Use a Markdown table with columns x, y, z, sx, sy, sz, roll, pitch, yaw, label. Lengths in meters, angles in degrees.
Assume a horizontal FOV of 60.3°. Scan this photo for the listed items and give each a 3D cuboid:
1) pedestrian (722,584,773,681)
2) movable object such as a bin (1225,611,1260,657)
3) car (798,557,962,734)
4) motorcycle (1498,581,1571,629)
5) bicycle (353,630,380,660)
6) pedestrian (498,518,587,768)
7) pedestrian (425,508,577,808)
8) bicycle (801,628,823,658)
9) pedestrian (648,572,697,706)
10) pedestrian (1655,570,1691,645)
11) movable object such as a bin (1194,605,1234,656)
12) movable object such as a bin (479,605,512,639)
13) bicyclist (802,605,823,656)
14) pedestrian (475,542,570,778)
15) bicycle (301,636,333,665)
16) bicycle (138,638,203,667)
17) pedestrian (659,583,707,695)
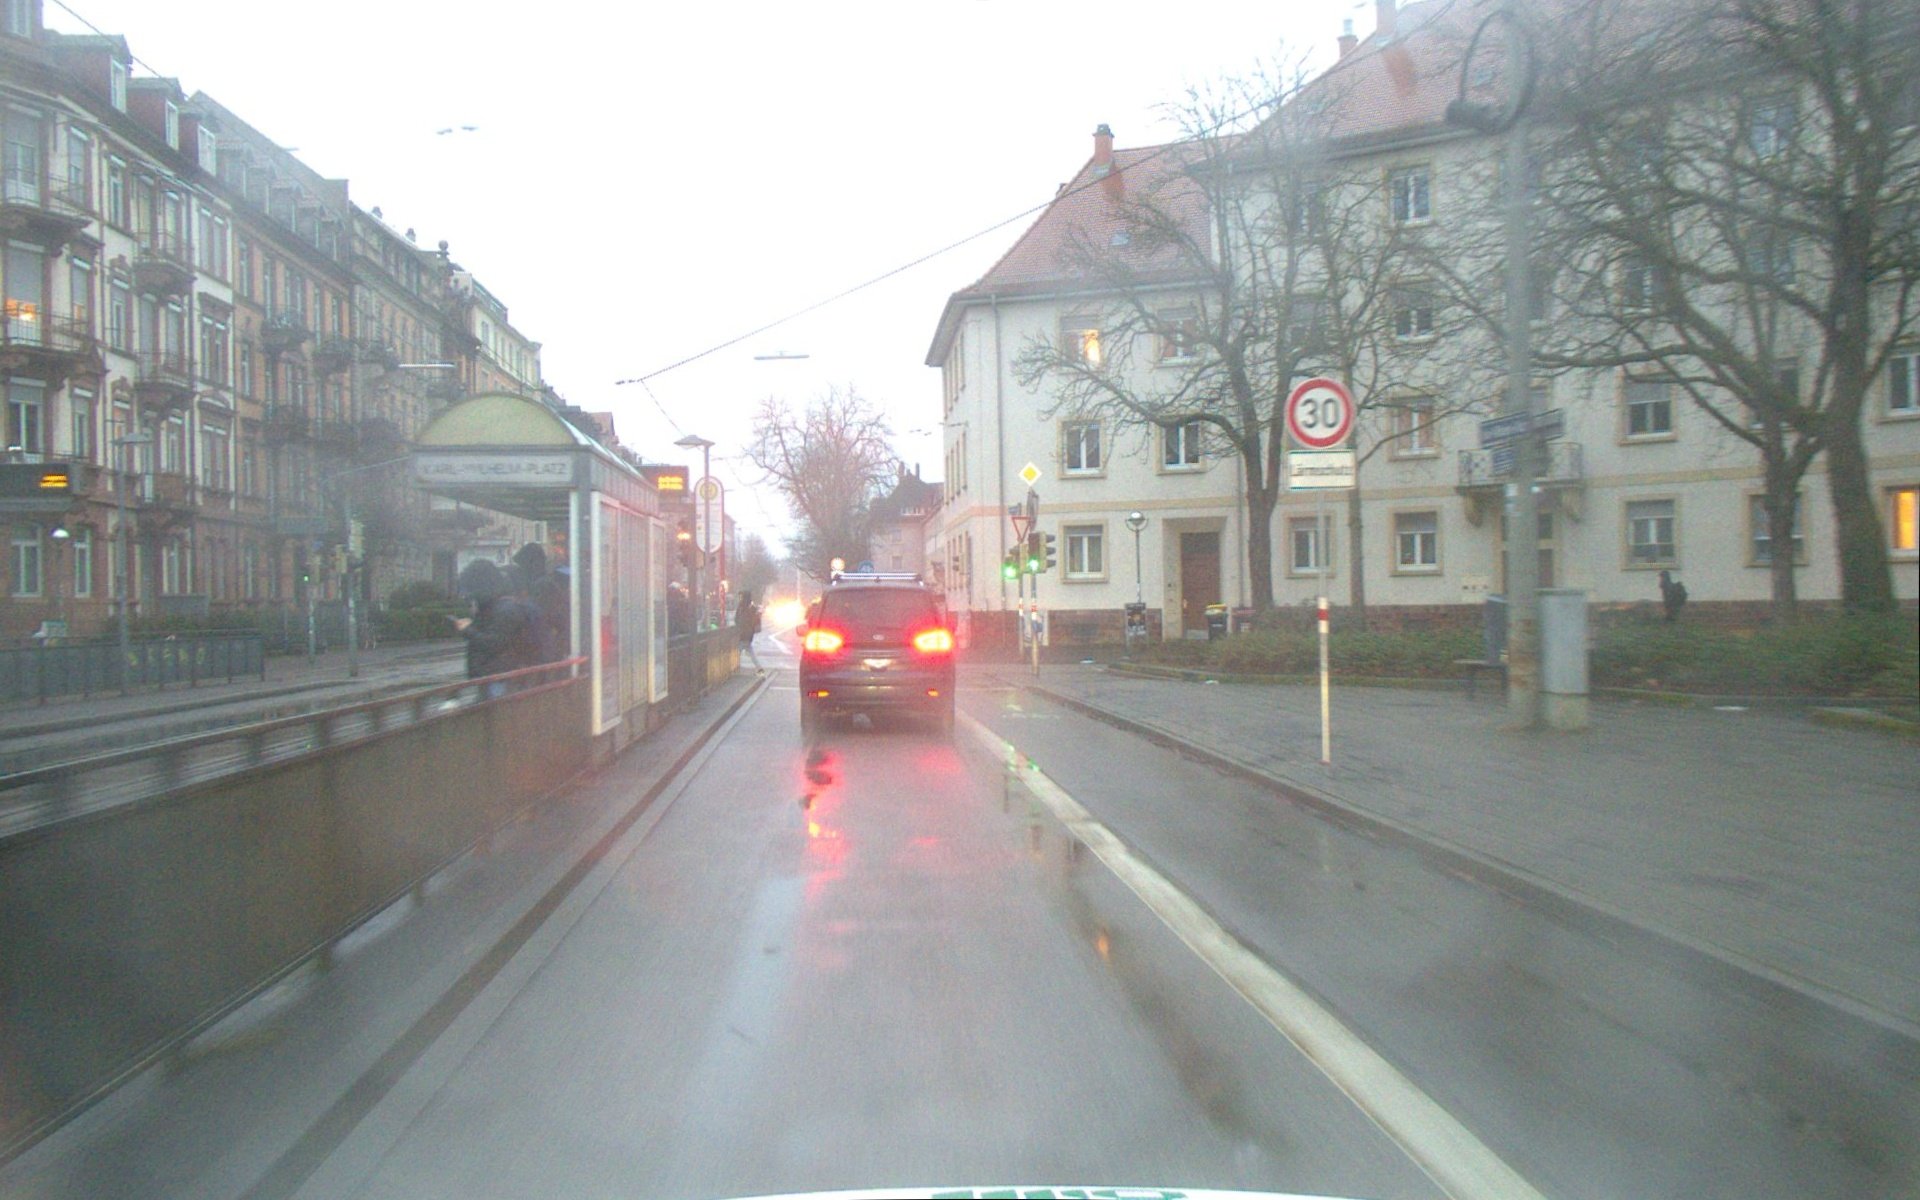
| x | y | z | sx | sy | sz | roll | pitch | yaw | label |
| --- | --- | --- | --- | --- | --- | --- | --- | --- | --- |
| -4.342 | 0.658 | 33.842 | 0.712 | 1.951 | 0.678 | 3 | -1 | -43 | pedestrian |
| 7.177 | 0.856 | 41.976 | 0.688 | 1.139 | 0.536 | 1 | -1 | 38 | movable object such as a bin |
| -0.986 | 0.523 | 20.396 | 1.766 | 1.903 | 4.015 | 2 | -1 | -3 | car |
| 13.797 | 0.124 | 39.741 | 0.564 | 1.124 | 1.580 | -4 | 2 | -40 | motorcycle |
| -21.181 | 1.601 | 59.053 | 0.408 | 1.024 | 1.848 | -1 | 0 | -3 | bicycle |
| -3.477 | 0.351 | 13.797 | 0.546 | 2.022 | 0.570 | 2 | -1 | -4 | pedestrian |
| -3.155 | 0.391 | 11.417 | 0.837 | 1.990 | 0.570 | 2 | -1 | -4 | pedestrian |
| -5.198 | 1.510 | 58.276 | 0.717 | 1.024 | 1.762 | 0 | -1 | -3 | bicycle |
| -4.037 | 0.548 | 23.242 | 0.546 | 1.839 | 0.570 | 2 | -1 | -4 | pedestrian |
| 16.185 | 0.169 | 37.553 | 0.698 | 1.689 | 0.688 | -1 | 0 | 21 | pedestrian |
| 6.531 | 0.785 | 42.473 | 0.838 | 1.273 | 0.519 | 1 | -1 | 38 | movable object such as a bin |
| -22.347 | 1.065 | 79.572 | 1.218 | 1.613 | 1.307 | 0 | -1 | 0 | movable object such as a bin |
| -5.190 | 1.076 | 58.211 | 0.716 | 1.767 | 0.765 | 0 | -1 | -4 | bicyclist |
| -3.394 | 0.460 | 12.851 | 0.546 | 1.771 | 0.570 | 2 | -1 | -4 | pedestrian |
| -21.067 | 1.649 | 54.219 | 0.391 | 0.877 | 1.848 | -1 | 0 | -3 | bicycle |
| -22.928 | 1.524 | 48.061 | 0.392 | 0.772 | 1.807 | -2 | 0 | 31 | bicycle |
| -4.396 | 0.616 | 26.284 | 0.644 | 1.738 | 0.570 | 2 | -1 | -4 | pedestrian |
